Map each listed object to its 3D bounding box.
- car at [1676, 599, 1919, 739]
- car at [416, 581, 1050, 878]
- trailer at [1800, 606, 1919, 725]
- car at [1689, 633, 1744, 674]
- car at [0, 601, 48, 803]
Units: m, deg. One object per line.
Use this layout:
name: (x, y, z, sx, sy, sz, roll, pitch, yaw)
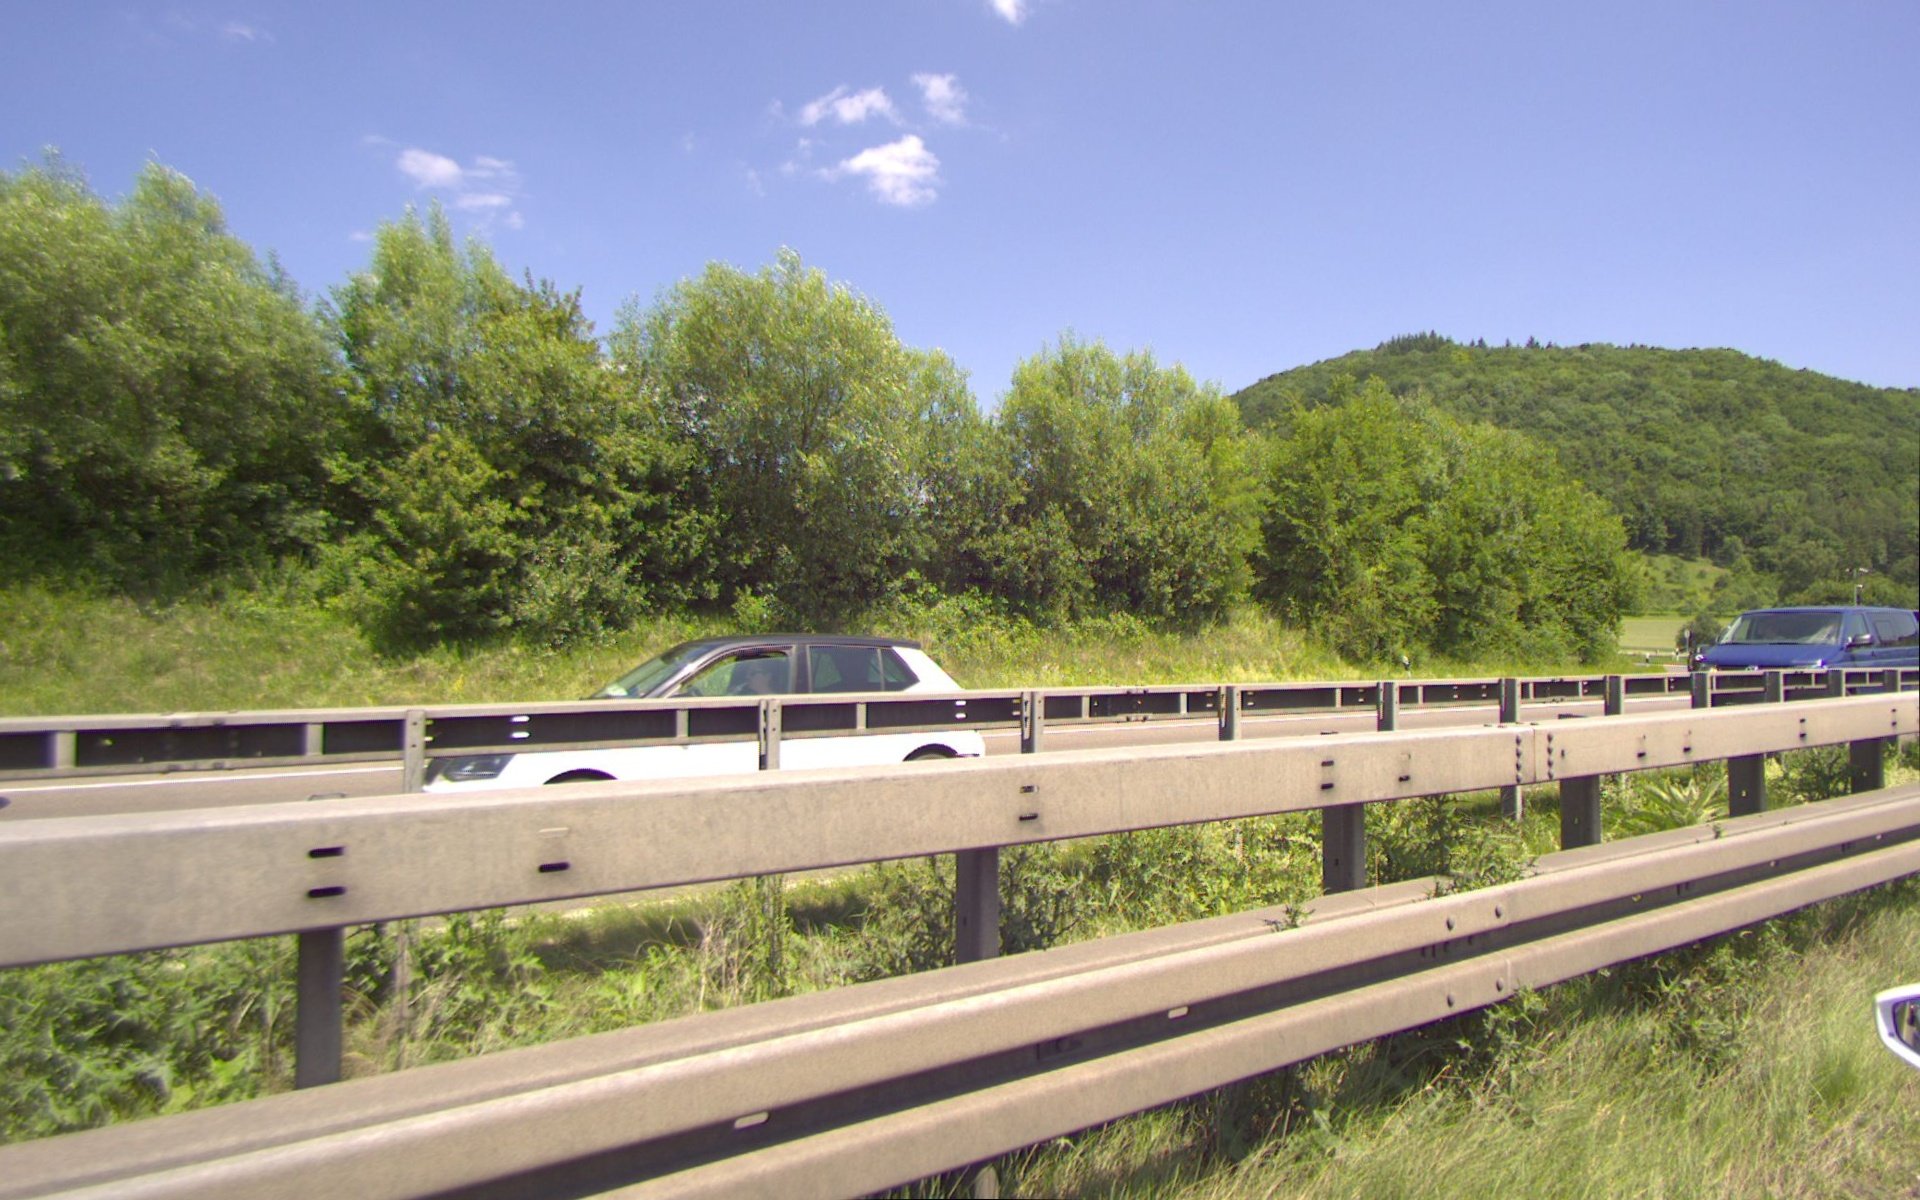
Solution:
car: (14.527, 1.092, 17.152, 4.782, 2.098, 1.984, 1, -1, -31)
car: (-1.622, 0.823, 7.491, 4.223, 1.635, 1.985, 2, -4, -30)
trailer: (18.237, 1.207, 19.355, 3.784, 2.098, 2.015, 1, -1, -31)
car: (37.283, 2.599, 49.488, 1.788, 1.862, 3.977, 0, -1, 43)
car: (-9.864, 0.785, 7.222, 4.507, 1.642, 1.914, 2, -4, -30)
